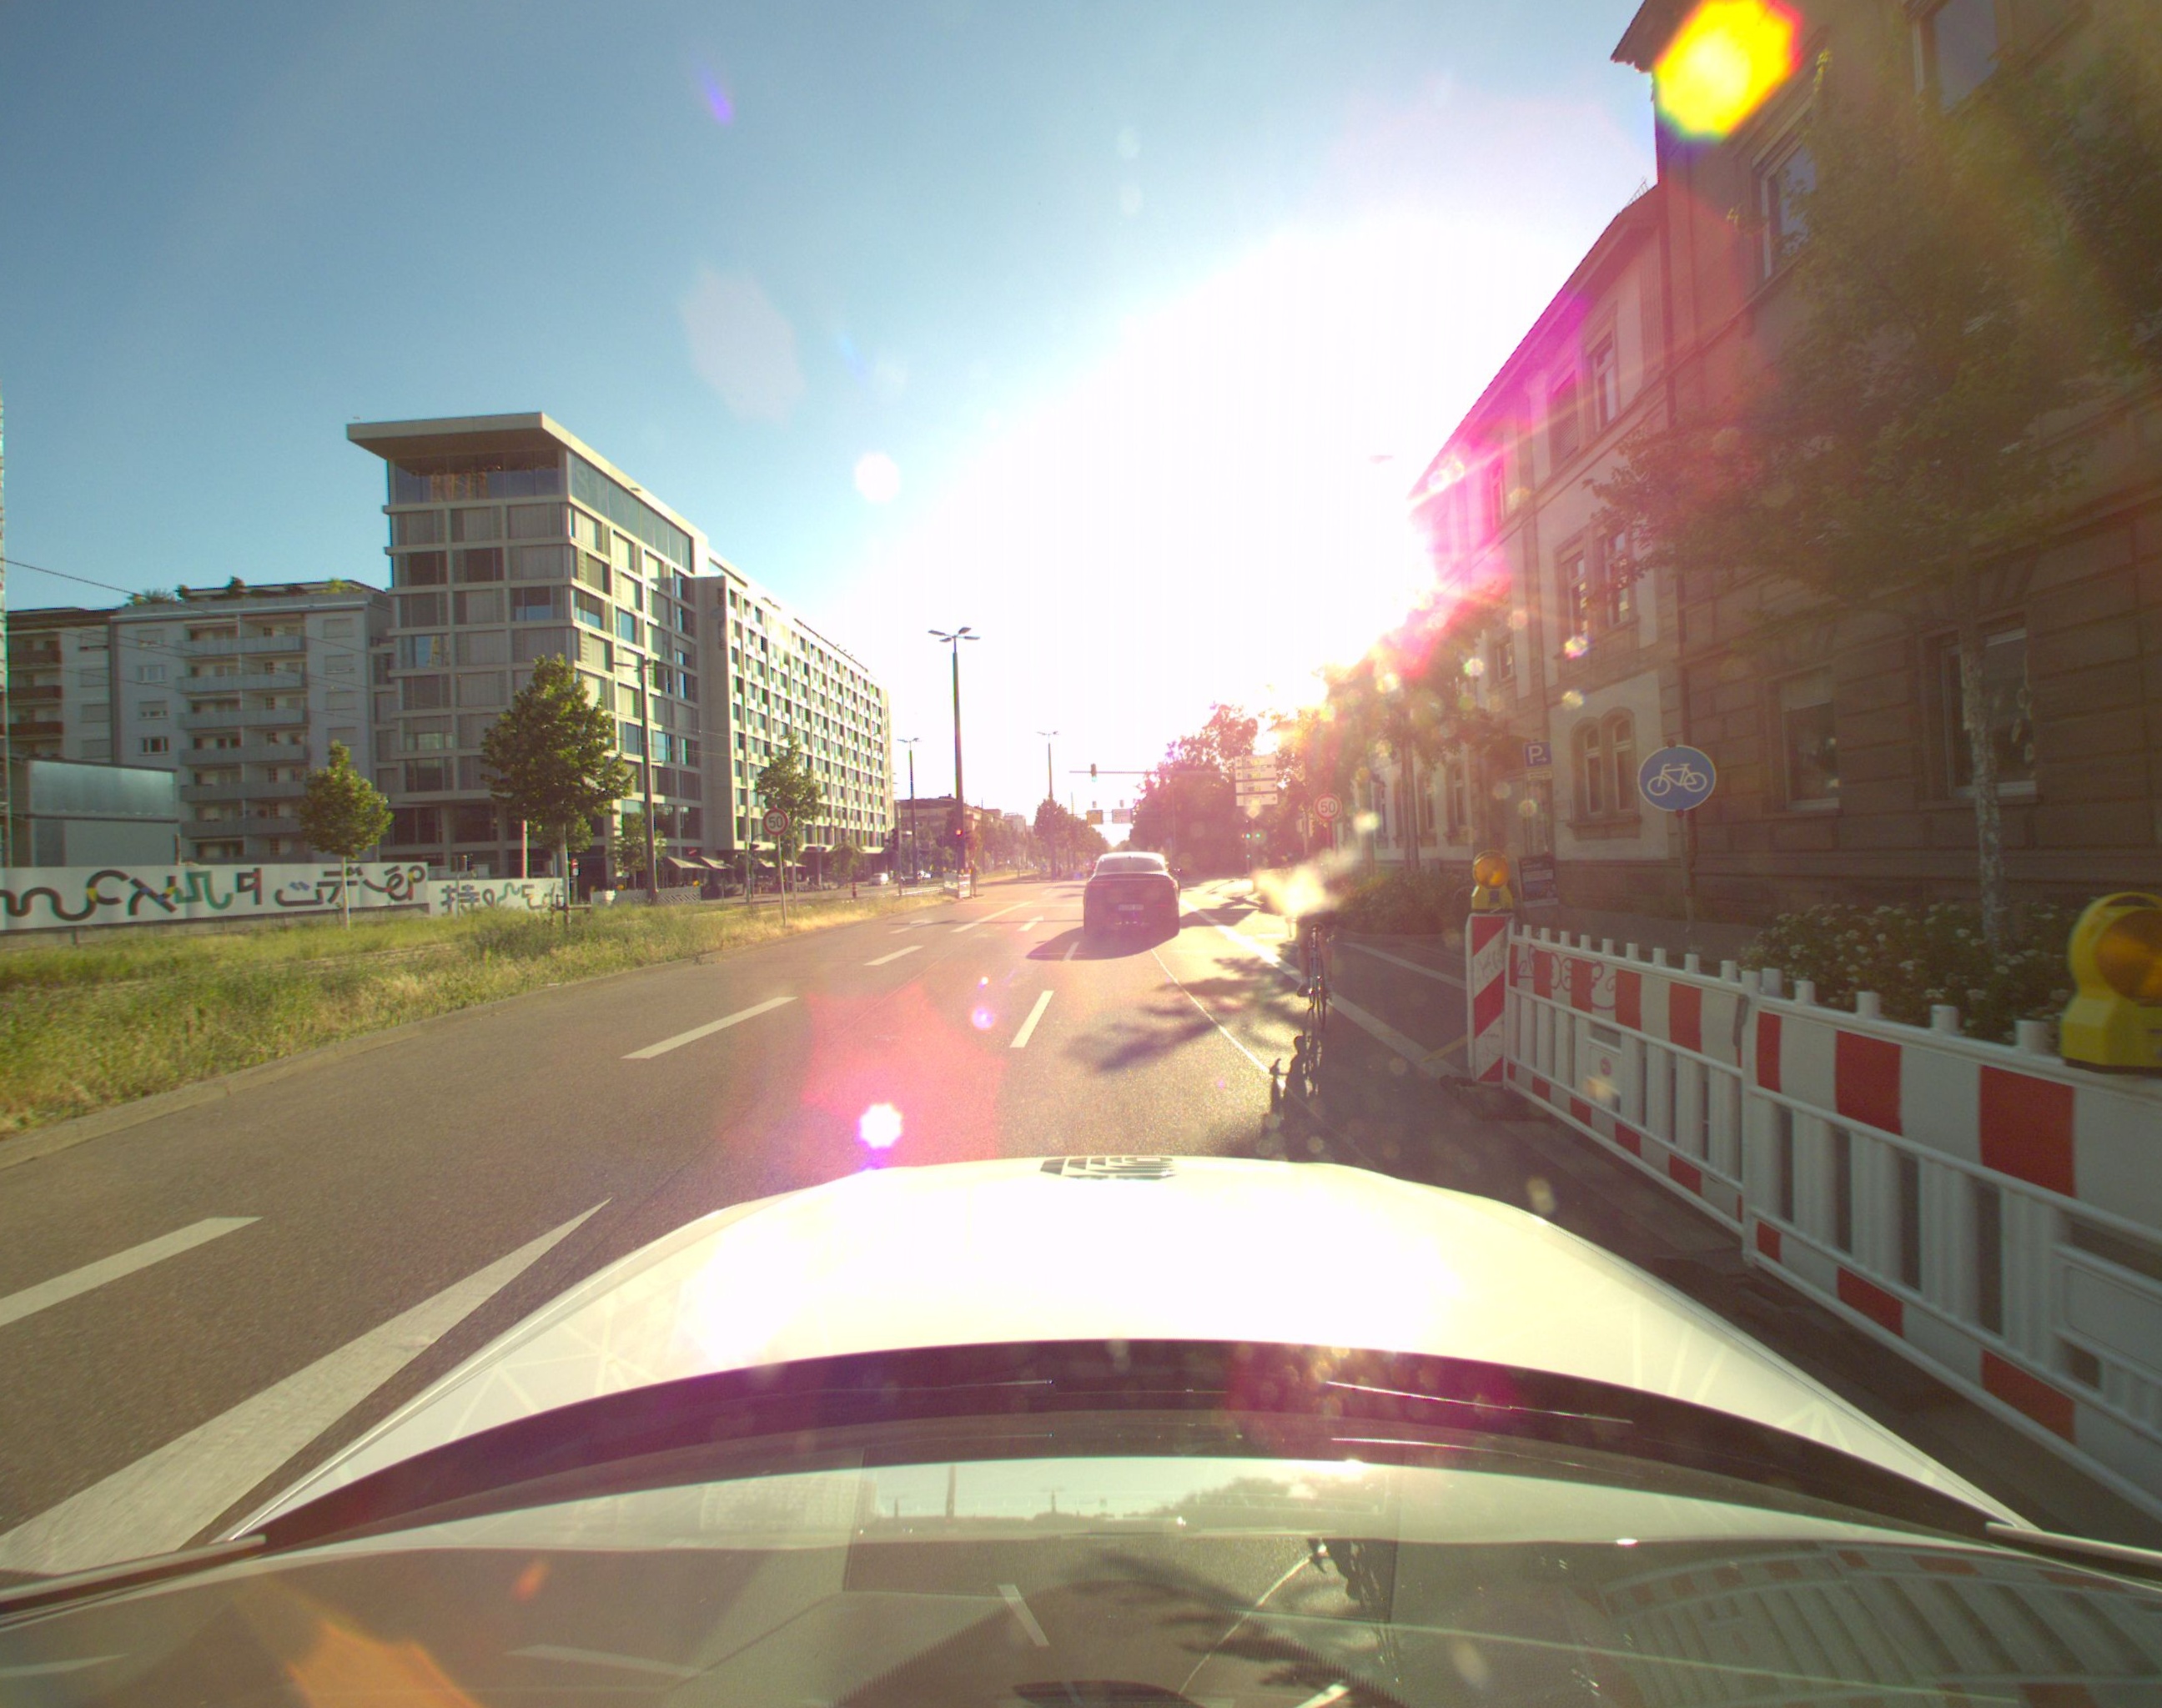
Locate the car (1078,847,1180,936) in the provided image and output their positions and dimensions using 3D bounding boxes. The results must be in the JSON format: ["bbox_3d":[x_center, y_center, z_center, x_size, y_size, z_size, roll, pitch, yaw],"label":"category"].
[{"bbox_3d":[1.194,0.751,18.183,1.983,1.734,4.008,-1,0,7],"label":"car"}]

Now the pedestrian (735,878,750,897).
[{"bbox_3d":[-31.482,3.151,75.749,0.863,1.721,0.806,-2,-1,12],"label":"pedestrian"}]

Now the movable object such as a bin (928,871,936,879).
[{"bbox_3d":[-24.910,3.487,136.297,0.851,1.358,0.944,-3,-1,17],"label":"movable object such as a bin"}]

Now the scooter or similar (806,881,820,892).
[{"bbox_3d":[-27.210,3.270,82.567,1.238,1.019,0.435,-3,-1,3],"label":"scooter or similar"}]

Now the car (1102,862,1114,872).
[{"bbox_3d":[4.651,2.192,140.395,1.878,1.580,4.003,-1,0,2],"label":"car"}]

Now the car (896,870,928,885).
[{"bbox_3d":[-16.764,2.313,80.936,1.883,1.343,4.853,-2,-1,3],"label":"car"}]

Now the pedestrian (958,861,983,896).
[{"bbox_3d":[-5.303,1.174,39.046,0.917,1.649,0.768,-3,-1,15],"label":"pedestrian"}]

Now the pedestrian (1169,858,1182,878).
[{"bbox_3d":[7.891,1.164,67.876,0.765,1.636,0.768,-4,-1,-7],"label":"pedestrian"}]

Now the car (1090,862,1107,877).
[{"bbox_3d":[2.082,1.788,95.608,1.878,1.580,4.003,-1,0,2],"label":"car"}]

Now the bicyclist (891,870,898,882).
[{"bbox_3d":[-23.477,2.789,102.643,0.622,1.465,0.852,-2,-1,4],"label":"bicyclist"}]

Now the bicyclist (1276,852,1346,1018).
[{"bbox_3d":[2.214,0.740,7.920,0.548,1.491,1.085,-2,0,14],"label":"bicyclist"}]

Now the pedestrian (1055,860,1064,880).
[{"bbox_3d":[-1.839,1.363,69.885,0.595,1.699,0.716,-3,-1,8],"label":"pedestrian"}]

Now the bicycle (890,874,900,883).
[{"bbox_3d":[-23.471,3.138,102.620,0.622,1.067,2.080,-2,-1,4],"label":"bicycle"}]

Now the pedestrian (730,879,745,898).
[{"bbox_3d":[-31.606,3.145,74.959,0.863,1.721,0.806,-2,-1,12],"label":"pedestrian"}]

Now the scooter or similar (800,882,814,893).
[{"bbox_3d":[-27.273,3.315,81.040,1.238,1.019,0.511,-3,-1,4],"label":"scooter or similar"}]

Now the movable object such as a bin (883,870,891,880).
[{"bbox_3d":[-31.443,3.421,132.049,0.797,1.440,1.404,-2,-1,3],"label":"movable object such as a bin"}]

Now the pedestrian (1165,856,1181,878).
[{"bbox_3d":[7.770,1.112,68.730,0.862,1.802,0.898,-4,-1,-32],"label":"pedestrian"}]

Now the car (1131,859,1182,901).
[{"bbox_3d":[3.062,1.007,32.926,1.887,1.527,4.065,-2,-1,6],"label":"car"}]

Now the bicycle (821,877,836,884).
[{"bbox_3d":[-33.149,3.460,106.941,1.800,0.905,0.511,-2,-1,-4],"label":"bicycle"}]

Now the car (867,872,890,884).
[{"bbox_3d":[-25.467,3.035,102.526,1.749,1.328,4.004,-1,-1,4],"label":"car"}]

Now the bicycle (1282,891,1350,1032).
[{"bbox_3d":[2.230,0.966,7.861,0.517,1.097,1.849,-2,0,14],"label":"bicycle"}]

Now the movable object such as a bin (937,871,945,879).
[{"bbox_3d":[-23.511,3.464,136.555,0.851,1.280,0.944,-3,-1,17],"label":"movable object such as a bin"}]

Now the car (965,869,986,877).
[{"bbox_3d":[-22.080,3.960,170.249,4.020,1.563,1.977,-1,-1,-39],"label":"car"}]
